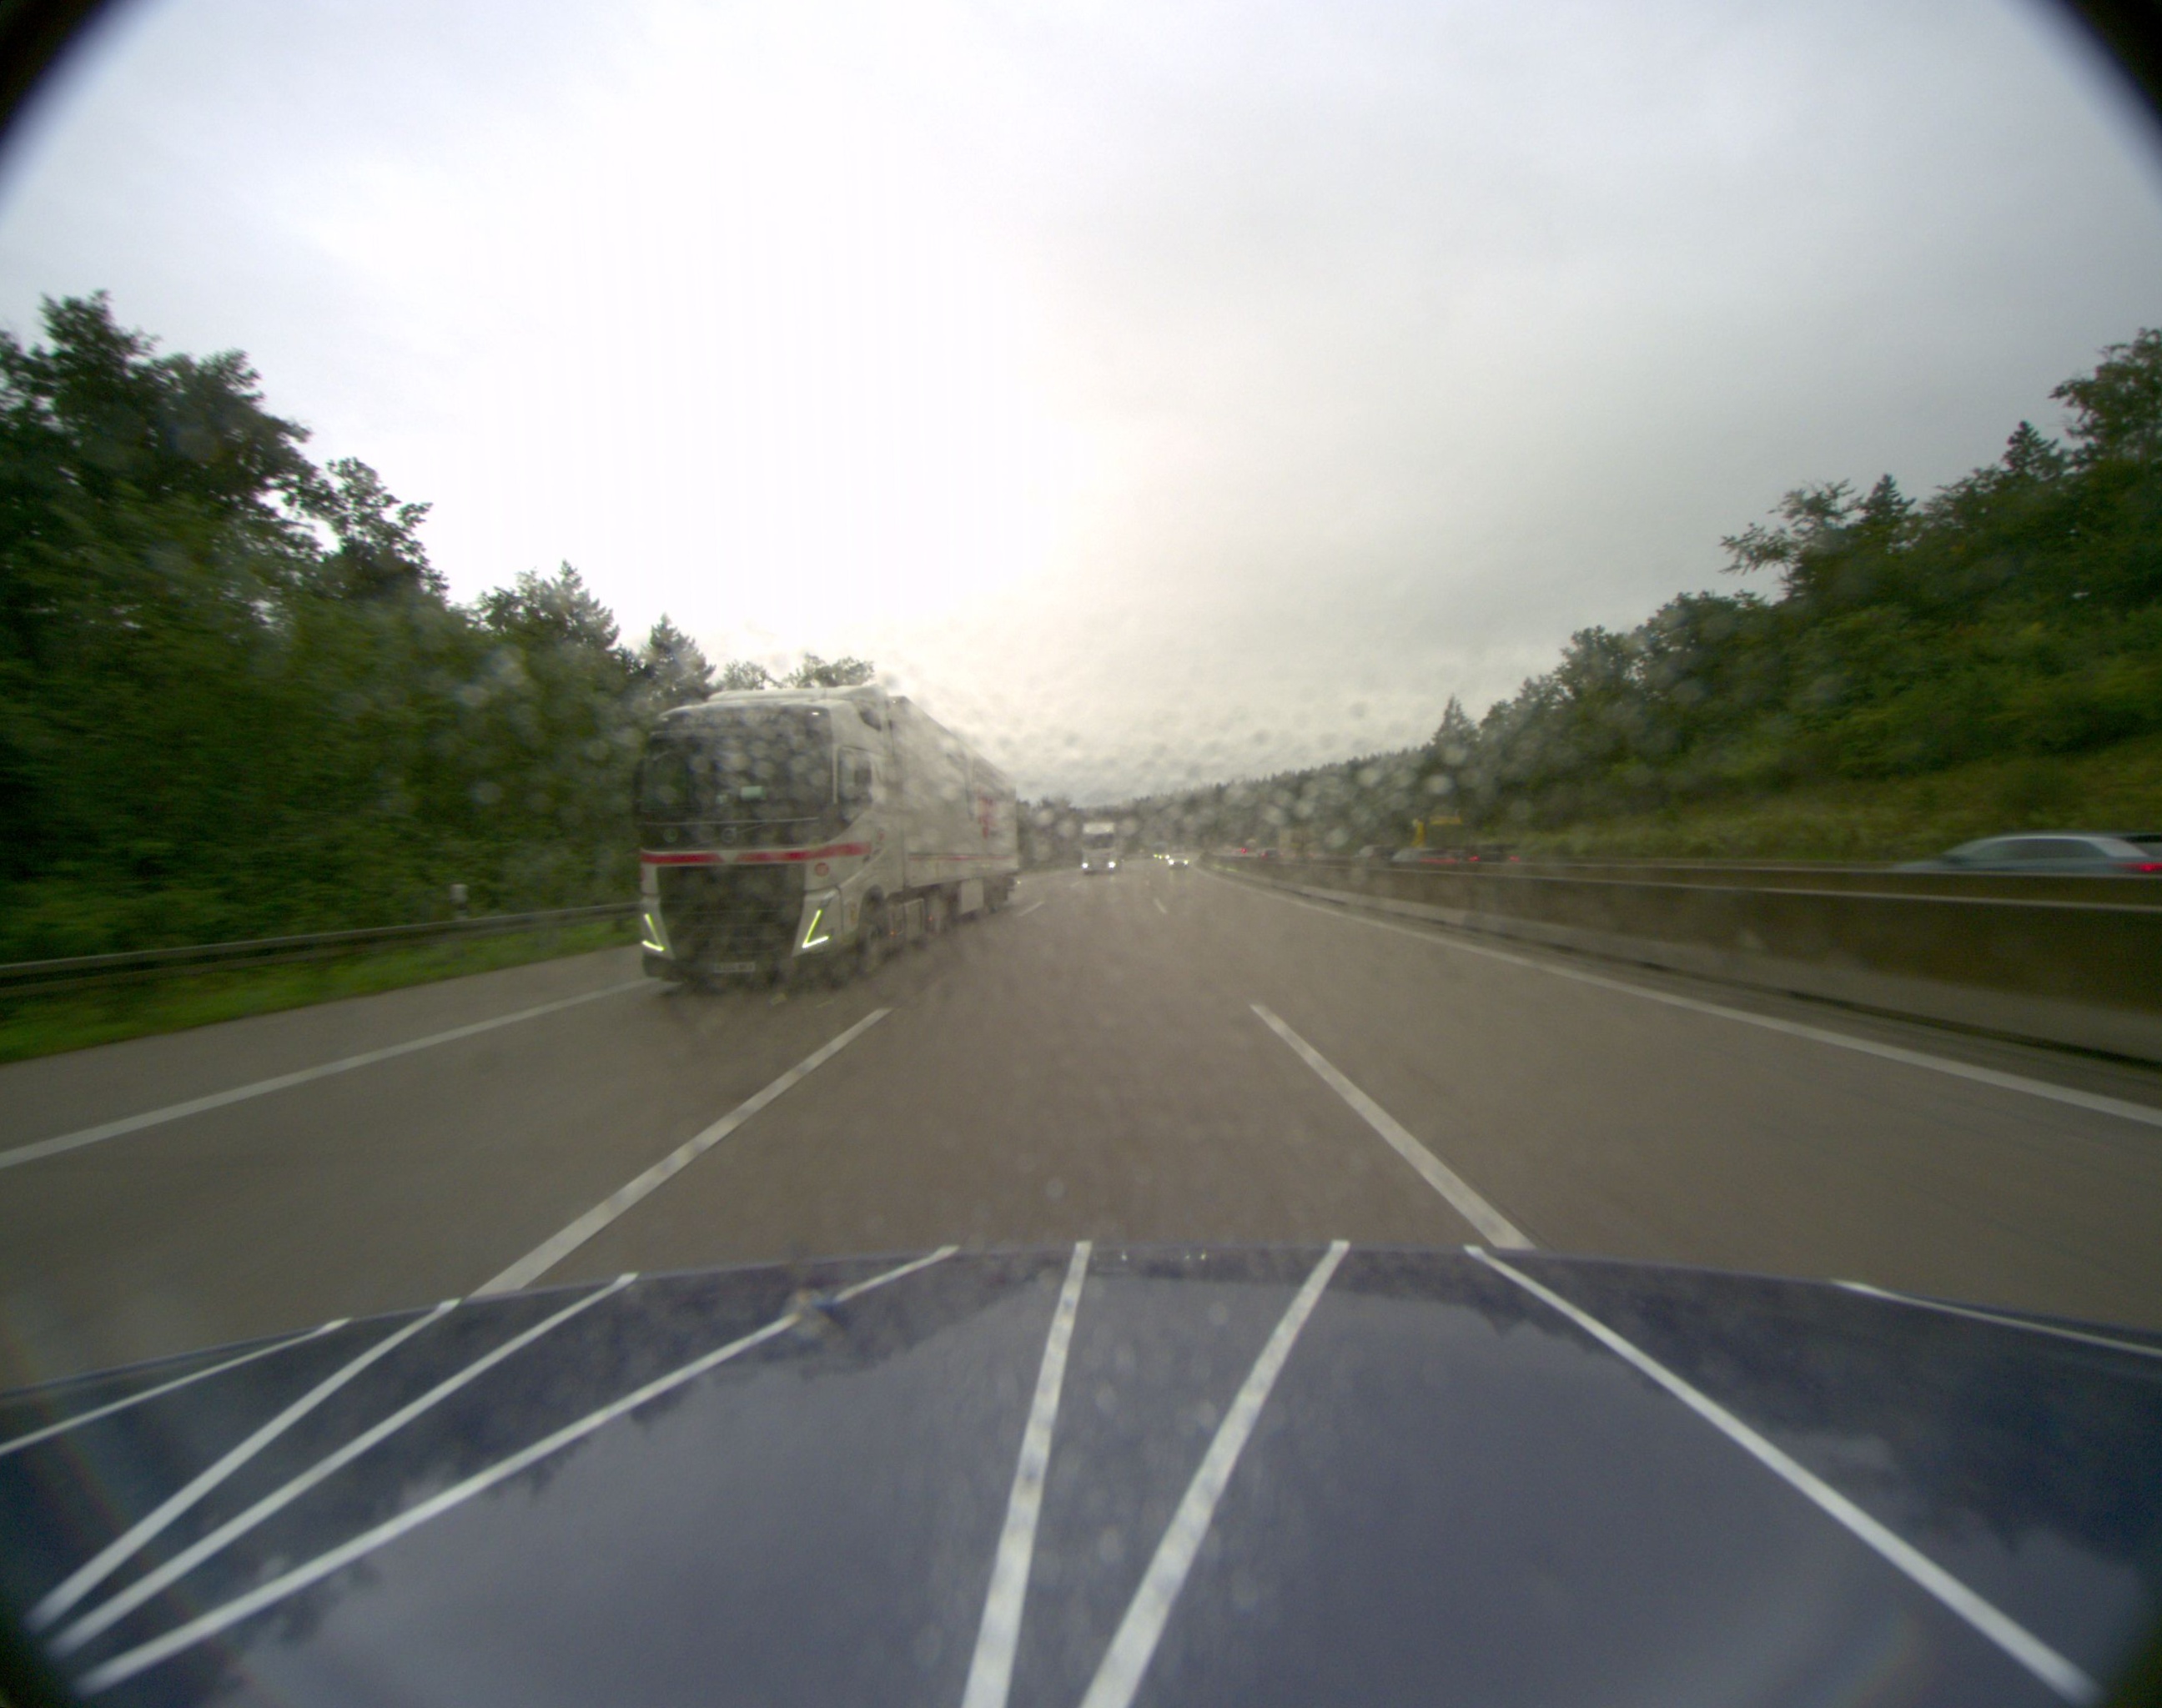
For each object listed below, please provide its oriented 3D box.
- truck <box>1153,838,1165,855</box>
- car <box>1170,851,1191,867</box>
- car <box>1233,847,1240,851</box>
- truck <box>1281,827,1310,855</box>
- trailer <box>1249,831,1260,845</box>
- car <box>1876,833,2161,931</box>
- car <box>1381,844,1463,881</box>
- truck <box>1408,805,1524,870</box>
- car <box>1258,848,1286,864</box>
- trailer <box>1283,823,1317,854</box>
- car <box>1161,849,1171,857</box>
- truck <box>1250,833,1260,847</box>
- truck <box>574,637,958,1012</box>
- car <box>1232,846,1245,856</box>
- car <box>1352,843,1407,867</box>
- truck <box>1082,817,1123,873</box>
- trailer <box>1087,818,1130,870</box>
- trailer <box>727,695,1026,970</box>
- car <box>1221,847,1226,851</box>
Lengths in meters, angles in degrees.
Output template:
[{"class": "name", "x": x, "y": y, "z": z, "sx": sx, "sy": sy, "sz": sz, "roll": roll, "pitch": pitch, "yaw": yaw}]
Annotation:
[{"class": "truck", "x": 19.323, "y": -1.847, "z": 188.169, "sx": 2.736, "sy": 4.127, "sz": 8.625, "roll": -2, "pitch": 0, "yaw": 5}, {"class": "car", "x": 9.320, "y": 0.433, "z": 71.443, "sx": 1.716, "sy": 1.399, "sz": 4.938, "roll": -2, "pitch": 0, "yaw": 6}, {"class": "car", "x": 47.312, "y": -1.516, "z": 231.373, "sx": 1.662, "sy": 1.364, "sz": 4.724, "roll": -2, "pitch": 0, "yaw": 9}, {"class": "truck", "x": 30.610, "y": -1.842, "z": 108.807, "sx": 3.031, "sy": 3.852, "sz": 8.122, "roll": -2, "pitch": 0, "yaw": 10}, {"class": "trailer", "x": 47.188, "y": -4.310, "z": 206.642, "sx": 2.550, "sy": 3.646, "sz": 8.237, "roll": -2, "pitch": 0, "yaw": 13}, {"class": "car", "x": 16.001, "y": 0.370, "z": 12.422, "sx": 1.658, "sy": 1.338, "sz": 4.085, "roll": -2, "pitch": 0, "yaw": -2}, {"class": "car", "x": 13.752, "y": 0.319, "z": 30.886, "sx": 1.657, "sy": 1.338, "sz": 4.086, "roll": -2, "pitch": 0, "yaw": 3}, {"class": "truck", "x": 22.034, "y": -0.897, "z": 44.177, "sx": 2.627, "sy": 3.277, "sz": 9.384, "roll": -2, "pitch": 0, "yaw": 5}, {"class": "car", "x": 17.502, "y": 0.149, "z": 69.728, "sx": 1.657, "sy": 1.338, "sz": 4.086, "roll": -2, "pitch": 0, "yaw": 3}, {"class": "trailer", "x": 29.524, "y": -2.065, "z": 102.925, "sx": 3.019, "sy": 3.852, "sz": 13.710, "roll": -2, "pitch": 0, "yaw": 10}, {"class": "car", "x": 15.742, "y": -0.100, "z": 140.368, "sx": 1.715, "sy": 1.399, "sz": 4.938, "roll": -2, "pitch": 0, "yaw": 7}, {"class": "truck", "x": 49.148, "y": -3.999, "z": 214.871, "sx": 2.568, "sy": 3.646, "sz": 10.501, "roll": -2, "pitch": 0, "yaw": 13}, {"class": "truck", "x": -4.024, "y": -0.321, "z": 11.467, "sx": 2.805, "sy": 4.080, "sz": 5.969, "roll": -2, "pitch": 0, "yaw": 4}, {"class": "car", "x": 23.882, "y": -0.425, "z": 115.513, "sx": 1.656, "sy": 1.470, "sz": 4.547, "roll": -2, "pitch": 0, "yaw": 8}, {"class": "car", "x": 18.249, "y": 0.061, "z": 46.729, "sx": 1.809, "sy": 1.338, "sz": 4.767, "roll": -2, "pitch": 0, "yaw": 5}, {"class": "truck", "x": 1.735, "y": -0.661, "z": 58.007, "sx": 2.727, "sy": 4.018, "sz": 5.754, "roll": 0, "pitch": 1, "yaw": 6}, {"class": "trailer", "x": 2.510, "y": -0.831, "z": 65.223, "sx": 2.685, "sy": 4.018, "sz": 13.710, "roll": 0, "pitch": 1, "yaw": 6}, {"class": "trailer", "x": -3.606, "y": -0.350, "z": 18.372, "sx": 2.740, "sy": 4.080, "sz": 13.684, "roll": -2, "pitch": 0, "yaw": 3}, {"class": "car", "x": 48.891, "y": -1.601, "z": 260.989, "sx": 1.661, "sy": 1.364, "sz": 4.762, "roll": -2, "pitch": 0, "yaw": 12}]
